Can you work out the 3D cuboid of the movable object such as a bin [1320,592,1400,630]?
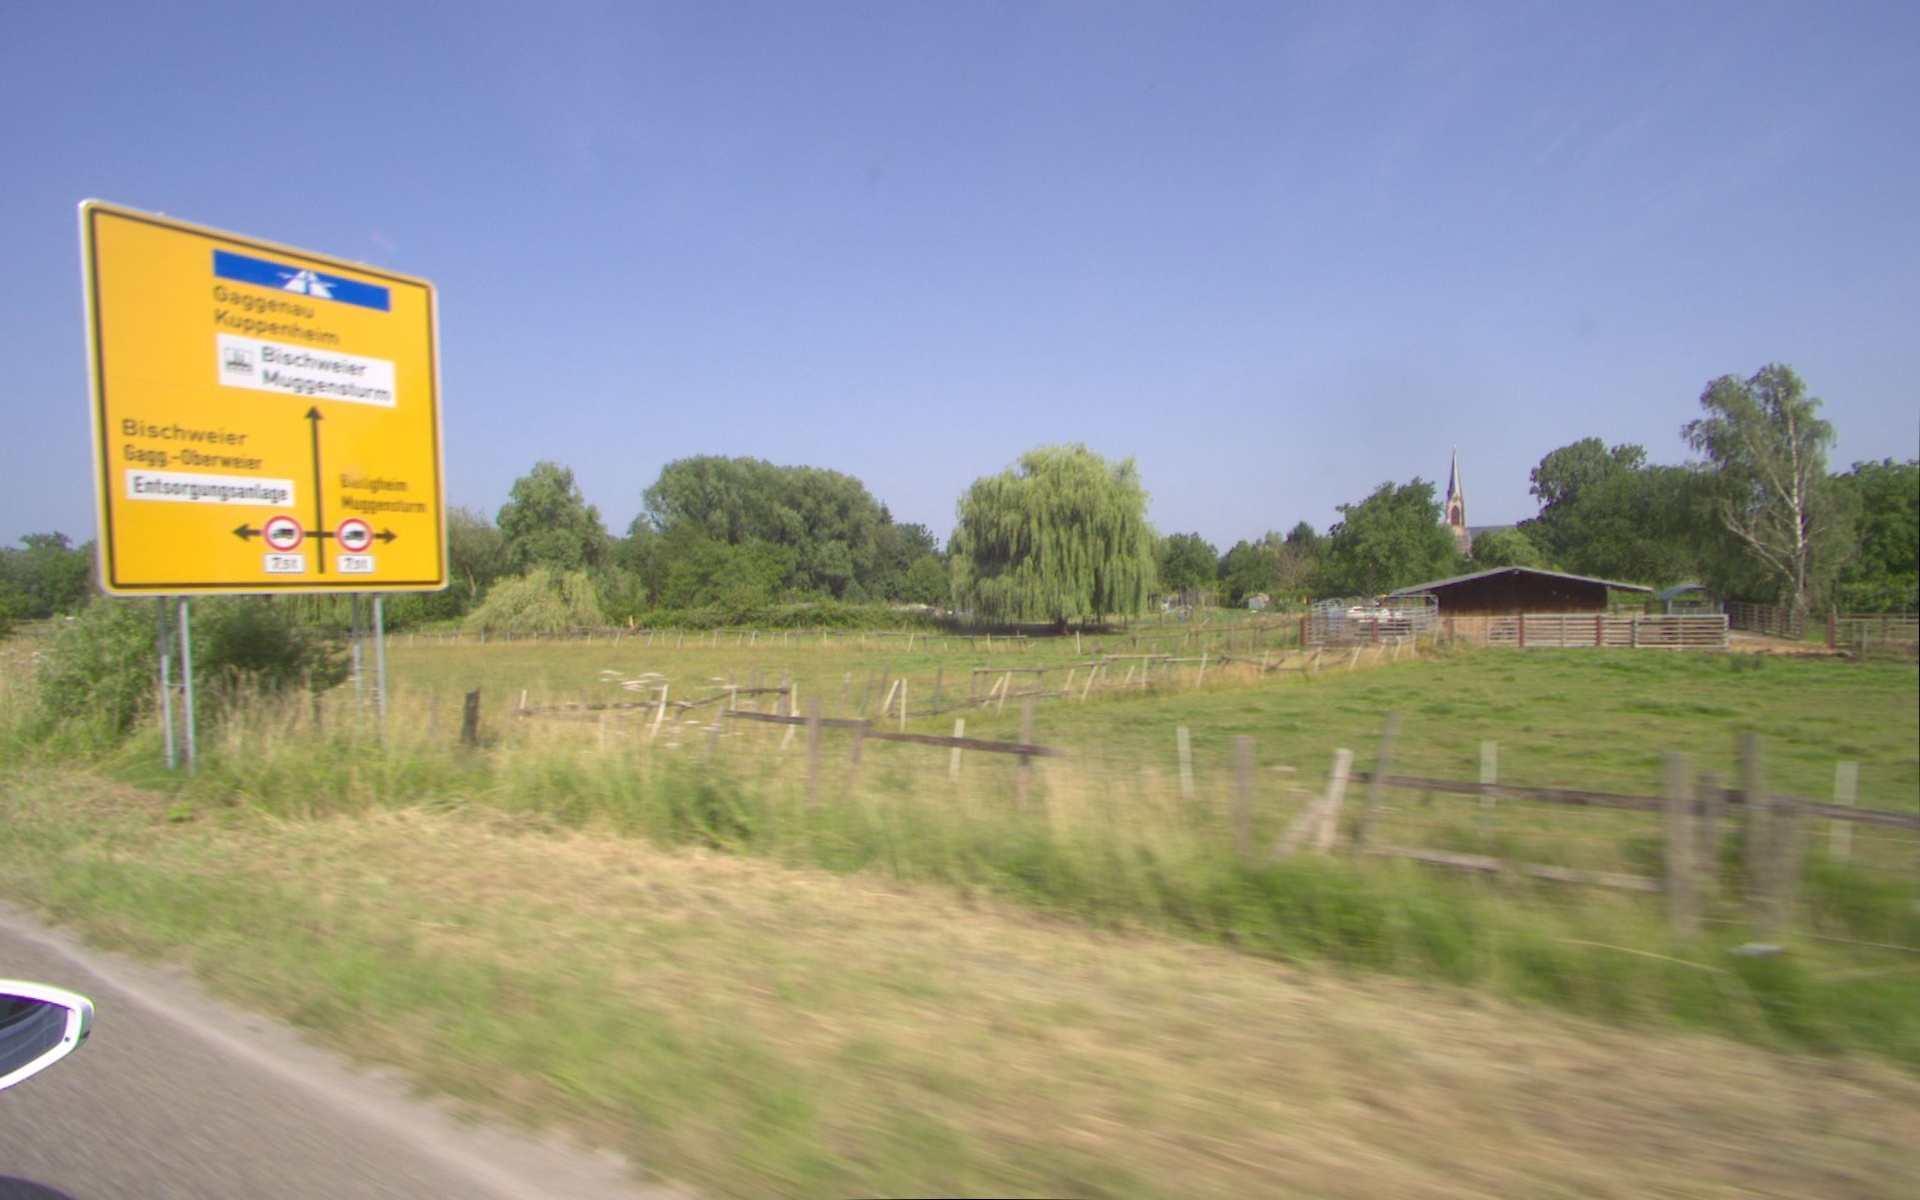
[{"bbox_3d":[23.799,0.659,59.620,4.105,2.223,1.989,-1,0,33],"label":"movable object such as a bin"}]
